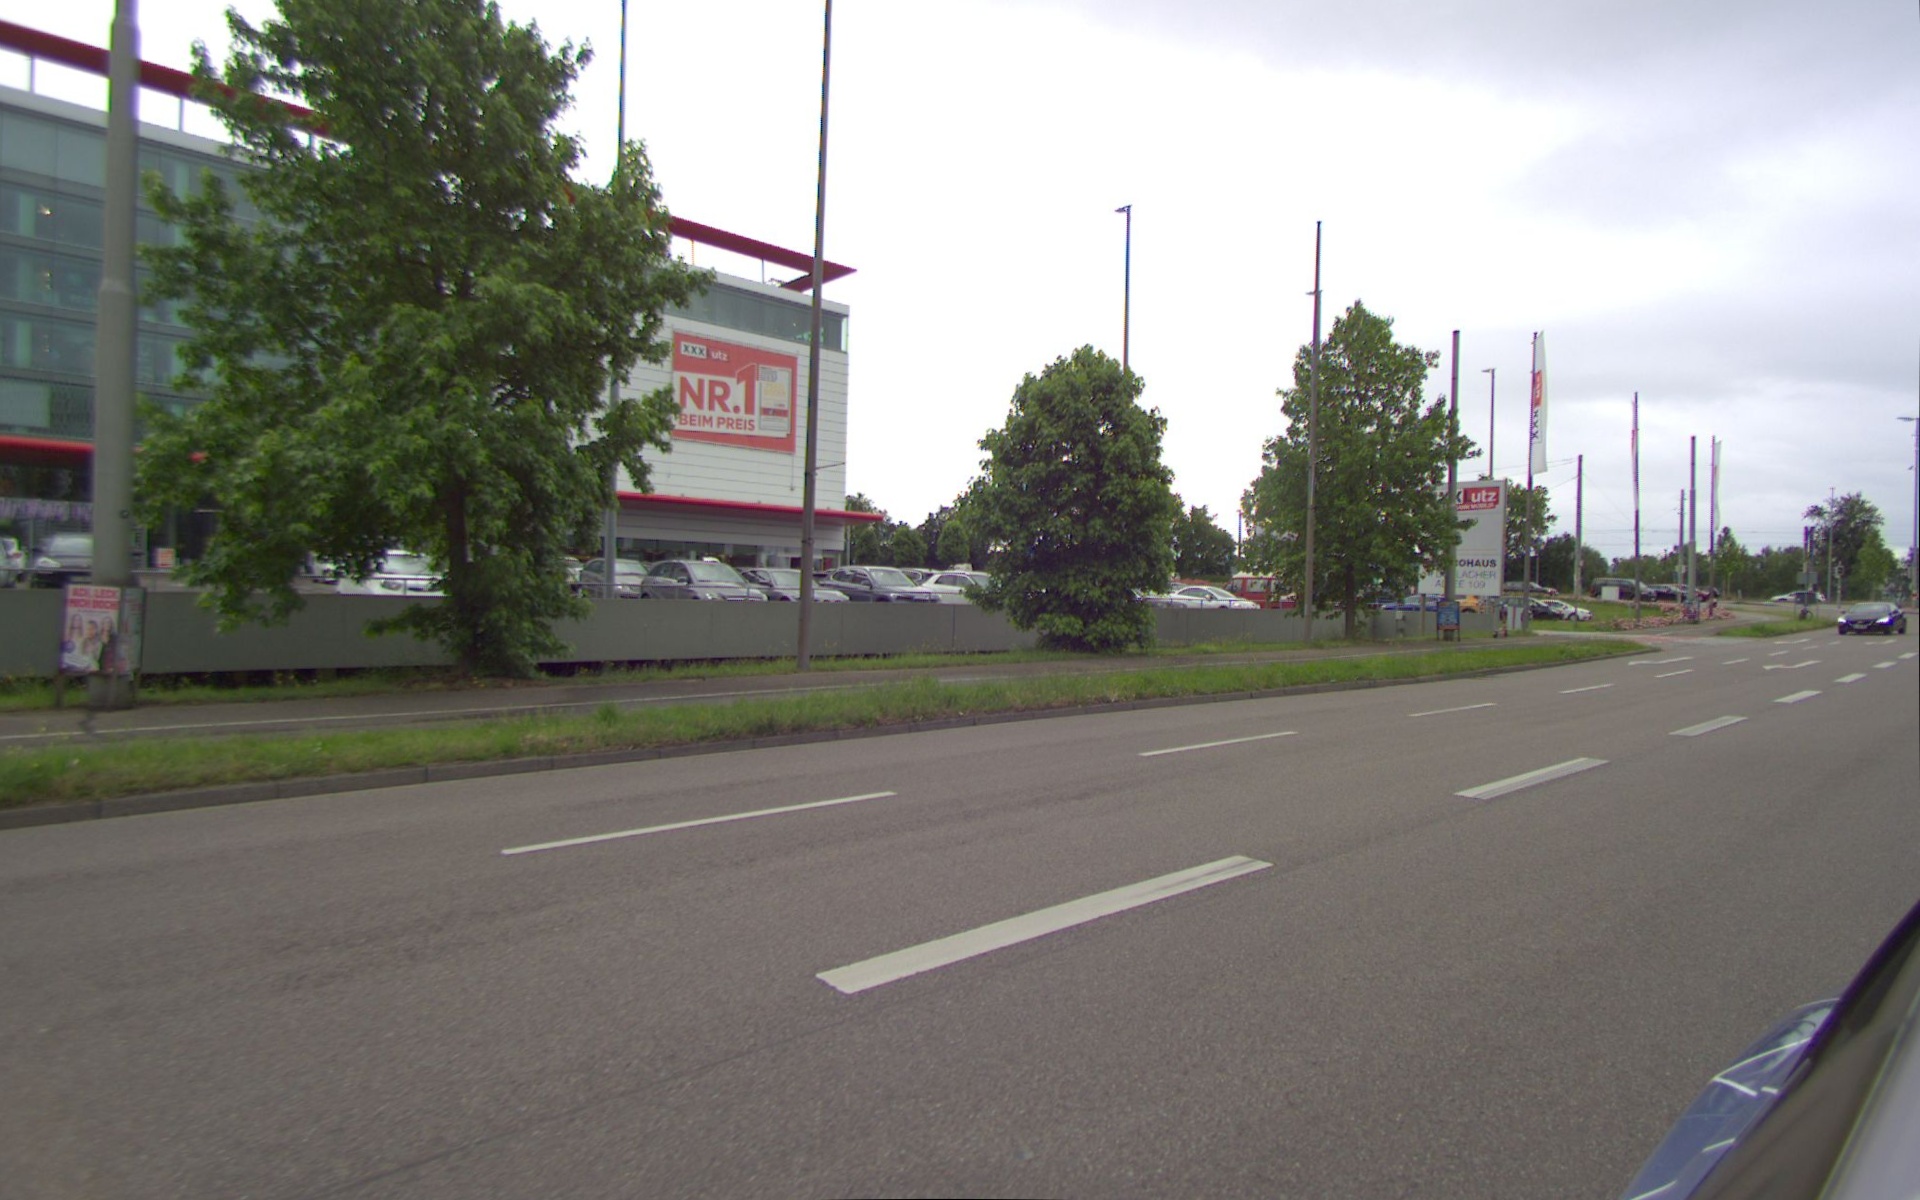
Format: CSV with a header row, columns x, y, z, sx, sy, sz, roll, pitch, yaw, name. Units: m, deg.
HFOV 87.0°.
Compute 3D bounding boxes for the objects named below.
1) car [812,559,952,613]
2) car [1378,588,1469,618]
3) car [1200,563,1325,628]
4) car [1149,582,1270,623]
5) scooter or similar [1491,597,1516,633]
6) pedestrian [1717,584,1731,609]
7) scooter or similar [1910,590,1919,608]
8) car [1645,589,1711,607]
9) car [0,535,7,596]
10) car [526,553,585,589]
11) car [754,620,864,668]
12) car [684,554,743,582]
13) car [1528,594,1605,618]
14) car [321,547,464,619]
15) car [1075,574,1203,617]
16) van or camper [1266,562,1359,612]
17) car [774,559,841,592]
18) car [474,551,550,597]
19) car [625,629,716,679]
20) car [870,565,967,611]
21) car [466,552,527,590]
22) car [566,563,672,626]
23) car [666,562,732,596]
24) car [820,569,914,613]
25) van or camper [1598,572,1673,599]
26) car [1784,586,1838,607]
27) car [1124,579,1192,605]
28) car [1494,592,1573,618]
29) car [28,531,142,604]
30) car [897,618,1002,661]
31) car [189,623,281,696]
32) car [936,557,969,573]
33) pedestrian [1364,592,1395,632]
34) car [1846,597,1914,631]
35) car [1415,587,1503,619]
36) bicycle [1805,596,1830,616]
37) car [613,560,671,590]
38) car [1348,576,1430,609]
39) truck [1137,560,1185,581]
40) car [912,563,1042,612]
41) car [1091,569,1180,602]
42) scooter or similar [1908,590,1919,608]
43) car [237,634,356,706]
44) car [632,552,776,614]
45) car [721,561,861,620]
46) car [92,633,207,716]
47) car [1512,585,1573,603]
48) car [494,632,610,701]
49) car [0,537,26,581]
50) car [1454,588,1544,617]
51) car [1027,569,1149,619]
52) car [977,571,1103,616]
x,y,z,sx,sy,sz,roll,pitch,yaw,name
-2.267,-0.386,28.738,1.778,1.367,4.158,3,-1,-42,car
24.312,0.126,53.137,1.783,1.473,3.995,-1,1,-40,car
13.034,-0.196,43.835,2.131,2.612,4.732,3,-1,-40,car
9.824,0.079,40.096,1.925,1.480,4.383,3,-1,-40,car
18.720,0.522,34.859,1.226,1.206,0.370,1,0,-42,scooter or similar
51.089,-0.256,67.697,0.712,1.616,0.774,1,3,35,pedestrian
71.650,-0.078,75.522,0.455,1.271,1.020,-1,2,-28,scooter or similar
61.202,-0.213,86.326,1.800,1.482,4.212,0,0,-29,car
-26.726,-0.990,26.939,1.815,1.537,4.236,3,2,-42,car
-18.908,-1.333,47.194,1.707,1.607,3.579,0,1,-37,car
-5.043,1.406,33.461,1.733,1.367,4.060,0,0,-41,car
-14.910,-1.903,61.115,1.799,1.574,3.798,3,-1,-42,car
41.013,0.381,68.460,1.843,1.464,4.112,3,-1,-43,car
-11.627,-0.337,20.662,3.514,1.324,1.580,1,-1,44,car
6.441,-0.167,36.836,1.833,1.437,4.475,3,-1,-40,car
21.882,-0.846,63.031,1.953,3.021,5.399,0,1,-35,van or camper
-8.752,-1.377,57.912,3.988,1.845,1.858,1,1,45,car
-16.263,-0.928,36.674,1.583,1.545,3.570,3,-1,-40,car
-11.161,2.016,38.887,1.754,1.643,3.990,0,1,-44,car
-1.798,-0.503,42.355,1.854,1.766,4.323,2,-1,-38,car
-20.862,-1.288,45.472,1.709,1.574,3.804,3,-1,-36,car
-11.752,-0.207,34.720,1.966,2.039,4.181,0,0,-42,car
-13.578,-1.095,52.536,1.848,1.631,3.996,3,-1,-39,car
-3.810,-0.364,40.962,1.800,1.685,4.182,0,0,-38,car
56.402,-1.237,84.607,2.080,2.038,4.763,-2,4,-26,van or camper
85.386,-0.355,101.593,3.976,2.039,1.922,0,0,37,car
12.279,-0.504,62.876,1.664,1.601,3.899,1,0,-42,car
36.830,0.314,65.015,1.741,1.603,4.094,2,0,-45,car
-21.929,-0.791,25.514,1.964,1.612,4.377,3,0,-39,car
-0.447,1.419,37.322,1.732,1.367,4.062,0,0,-40,car
-21.397,1.669,29.797,1.964,1.855,4.376,0,0,-39,car
-1.439,-6.492,186.597,5.879,2.659,2.623,3,0,43,car
18.514,0.525,44.683,0.870,1.741,0.940,3,-1,-43,pedestrian
41.309,0.586,45.416,4.272,1.408,1.995,-1,1,-44,car
27.815,0.145,56.504,1.782,1.664,3.999,0,1,-37,car
47.254,0.320,55.778,1.660,1.061,0.665,-1,1,-36,bicycle
-17.782,-1.385,56.561,1.712,1.574,3.778,3,-1,-41,car
30.537,-0.563,72.199,2.083,2.192,5.051,0,2,-36,car
30.553,-4.436,153.968,6.518,2.960,2.786,3,0,41,truck
0.474,-0.393,31.617,1.733,1.367,4.059,3,-1,-42,car
9.043,-0.734,52.485,1.801,1.604,4.421,3,-1,-39,car
71.194,-0.053,75.154,0.314,1.271,1.117,-2,3,-30,scooter or similar
-15.676,1.579,23.827,1.734,1.367,4.058,0,0,-43,car
-6.411,-0.404,25.067,1.733,1.367,4.059,3,-1,-42,car
-4.577,-0.255,27.018,1.733,1.417,4.059,3,-1,-42,car
-14.099,1.213,17.544,1.429,1.146,3.519,0,0,-41,car
52.574,-0.543,91.397,1.932,1.482,4.322,0,2,-36,car
-11.302,1.756,27.879,1.733,1.571,4.060,0,0,-41,car
-33.301,-1.407,34.673,1.670,1.411,3.693,3,-1,-40,car
31.790,0.123,59.753,4.512,1.602,1.748,1,3,36,car
4.330,-0.217,34.709,1.732,1.560,4.062,3,-1,-40,car
2.614,-0.216,33.719,1.803,1.367,4.059,3,-1,-42,car
